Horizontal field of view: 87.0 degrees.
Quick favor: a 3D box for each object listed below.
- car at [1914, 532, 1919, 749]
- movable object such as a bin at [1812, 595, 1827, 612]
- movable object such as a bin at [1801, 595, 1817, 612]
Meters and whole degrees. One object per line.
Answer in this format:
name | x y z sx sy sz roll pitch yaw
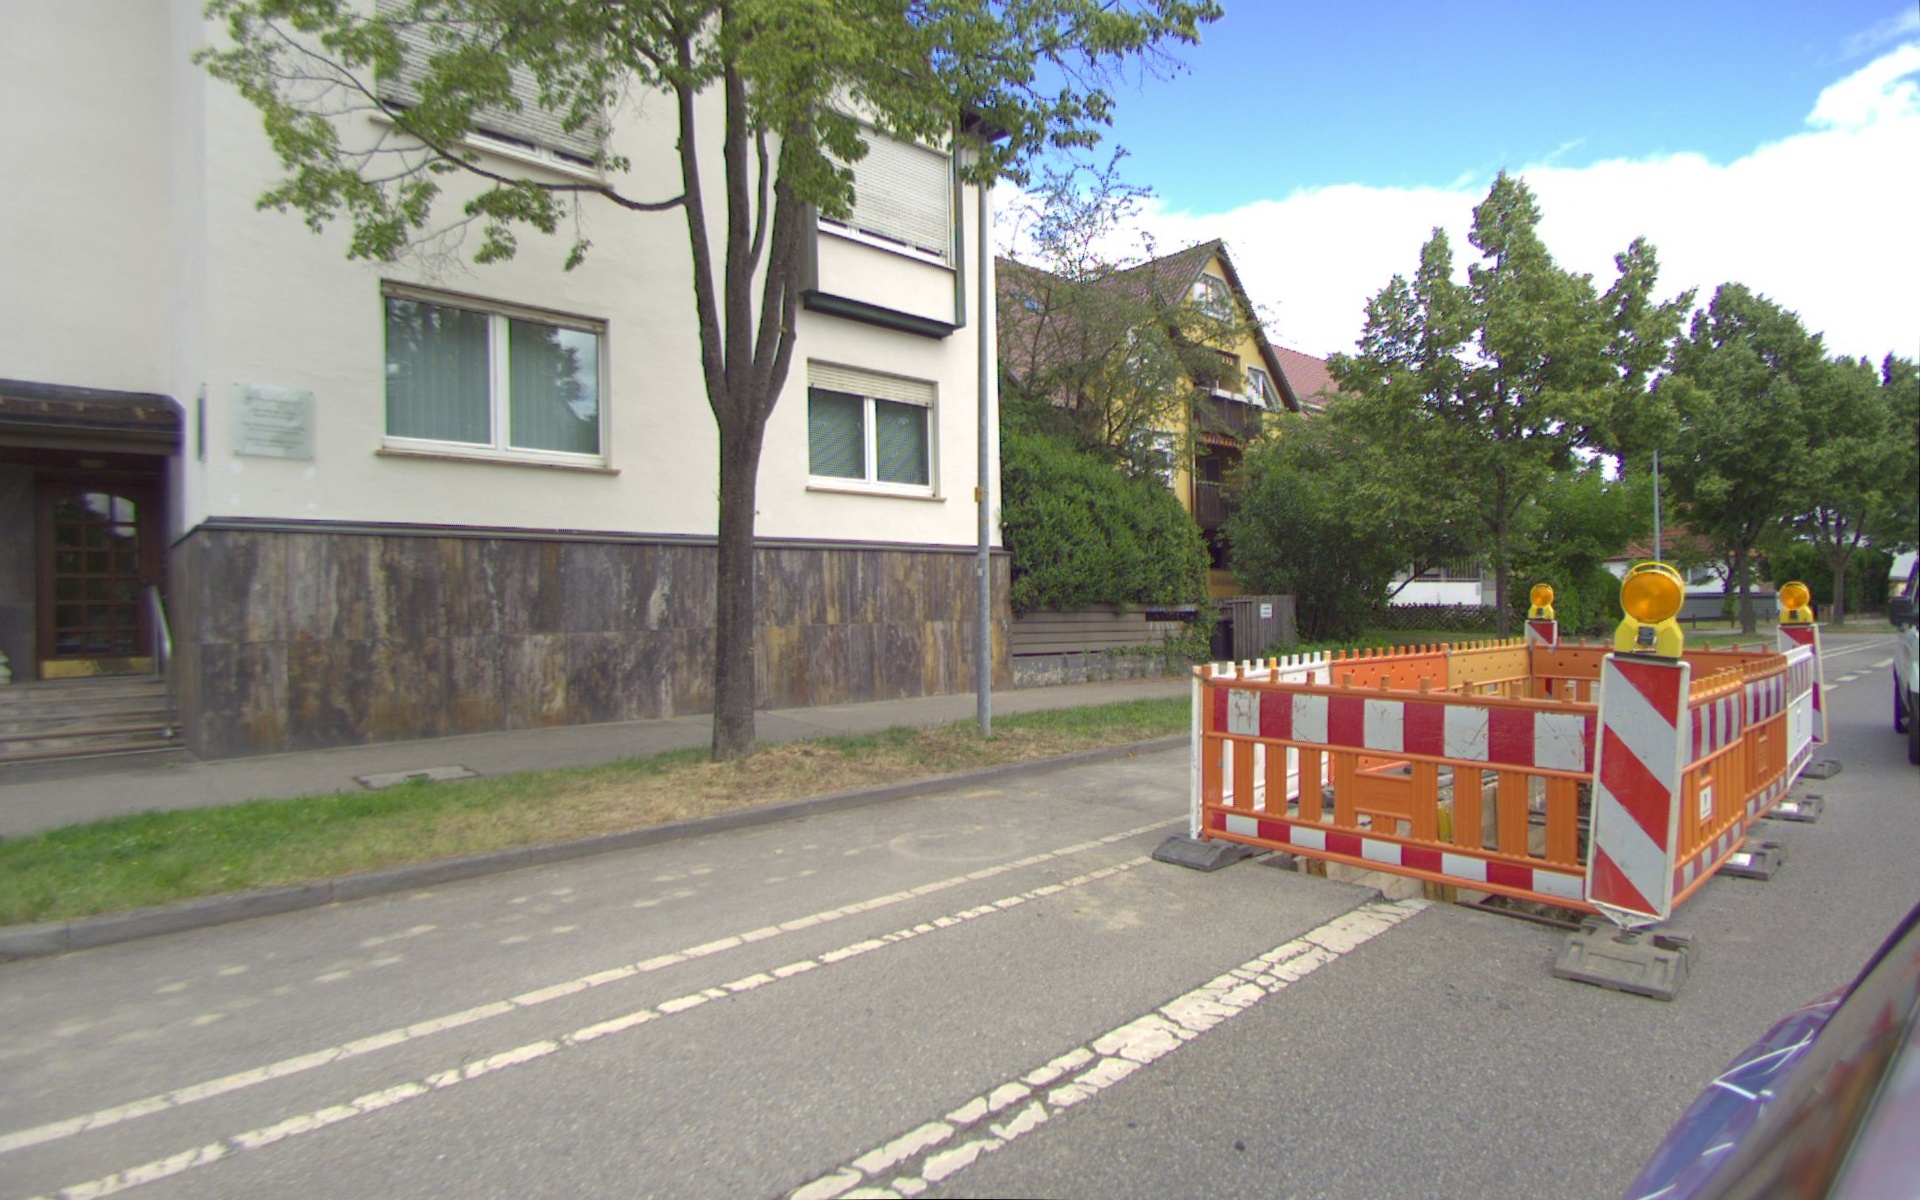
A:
car | 11.288 0.370 10.346 5.231 2.039 1.994 -1 -1 -44
movable object such as a bin | 52.196 0.209 61.467 0.508 1.058 0.501 0 -1 -26
movable object such as a bin | 51.972 0.208 61.957 0.508 1.072 0.542 0 -1 -25
